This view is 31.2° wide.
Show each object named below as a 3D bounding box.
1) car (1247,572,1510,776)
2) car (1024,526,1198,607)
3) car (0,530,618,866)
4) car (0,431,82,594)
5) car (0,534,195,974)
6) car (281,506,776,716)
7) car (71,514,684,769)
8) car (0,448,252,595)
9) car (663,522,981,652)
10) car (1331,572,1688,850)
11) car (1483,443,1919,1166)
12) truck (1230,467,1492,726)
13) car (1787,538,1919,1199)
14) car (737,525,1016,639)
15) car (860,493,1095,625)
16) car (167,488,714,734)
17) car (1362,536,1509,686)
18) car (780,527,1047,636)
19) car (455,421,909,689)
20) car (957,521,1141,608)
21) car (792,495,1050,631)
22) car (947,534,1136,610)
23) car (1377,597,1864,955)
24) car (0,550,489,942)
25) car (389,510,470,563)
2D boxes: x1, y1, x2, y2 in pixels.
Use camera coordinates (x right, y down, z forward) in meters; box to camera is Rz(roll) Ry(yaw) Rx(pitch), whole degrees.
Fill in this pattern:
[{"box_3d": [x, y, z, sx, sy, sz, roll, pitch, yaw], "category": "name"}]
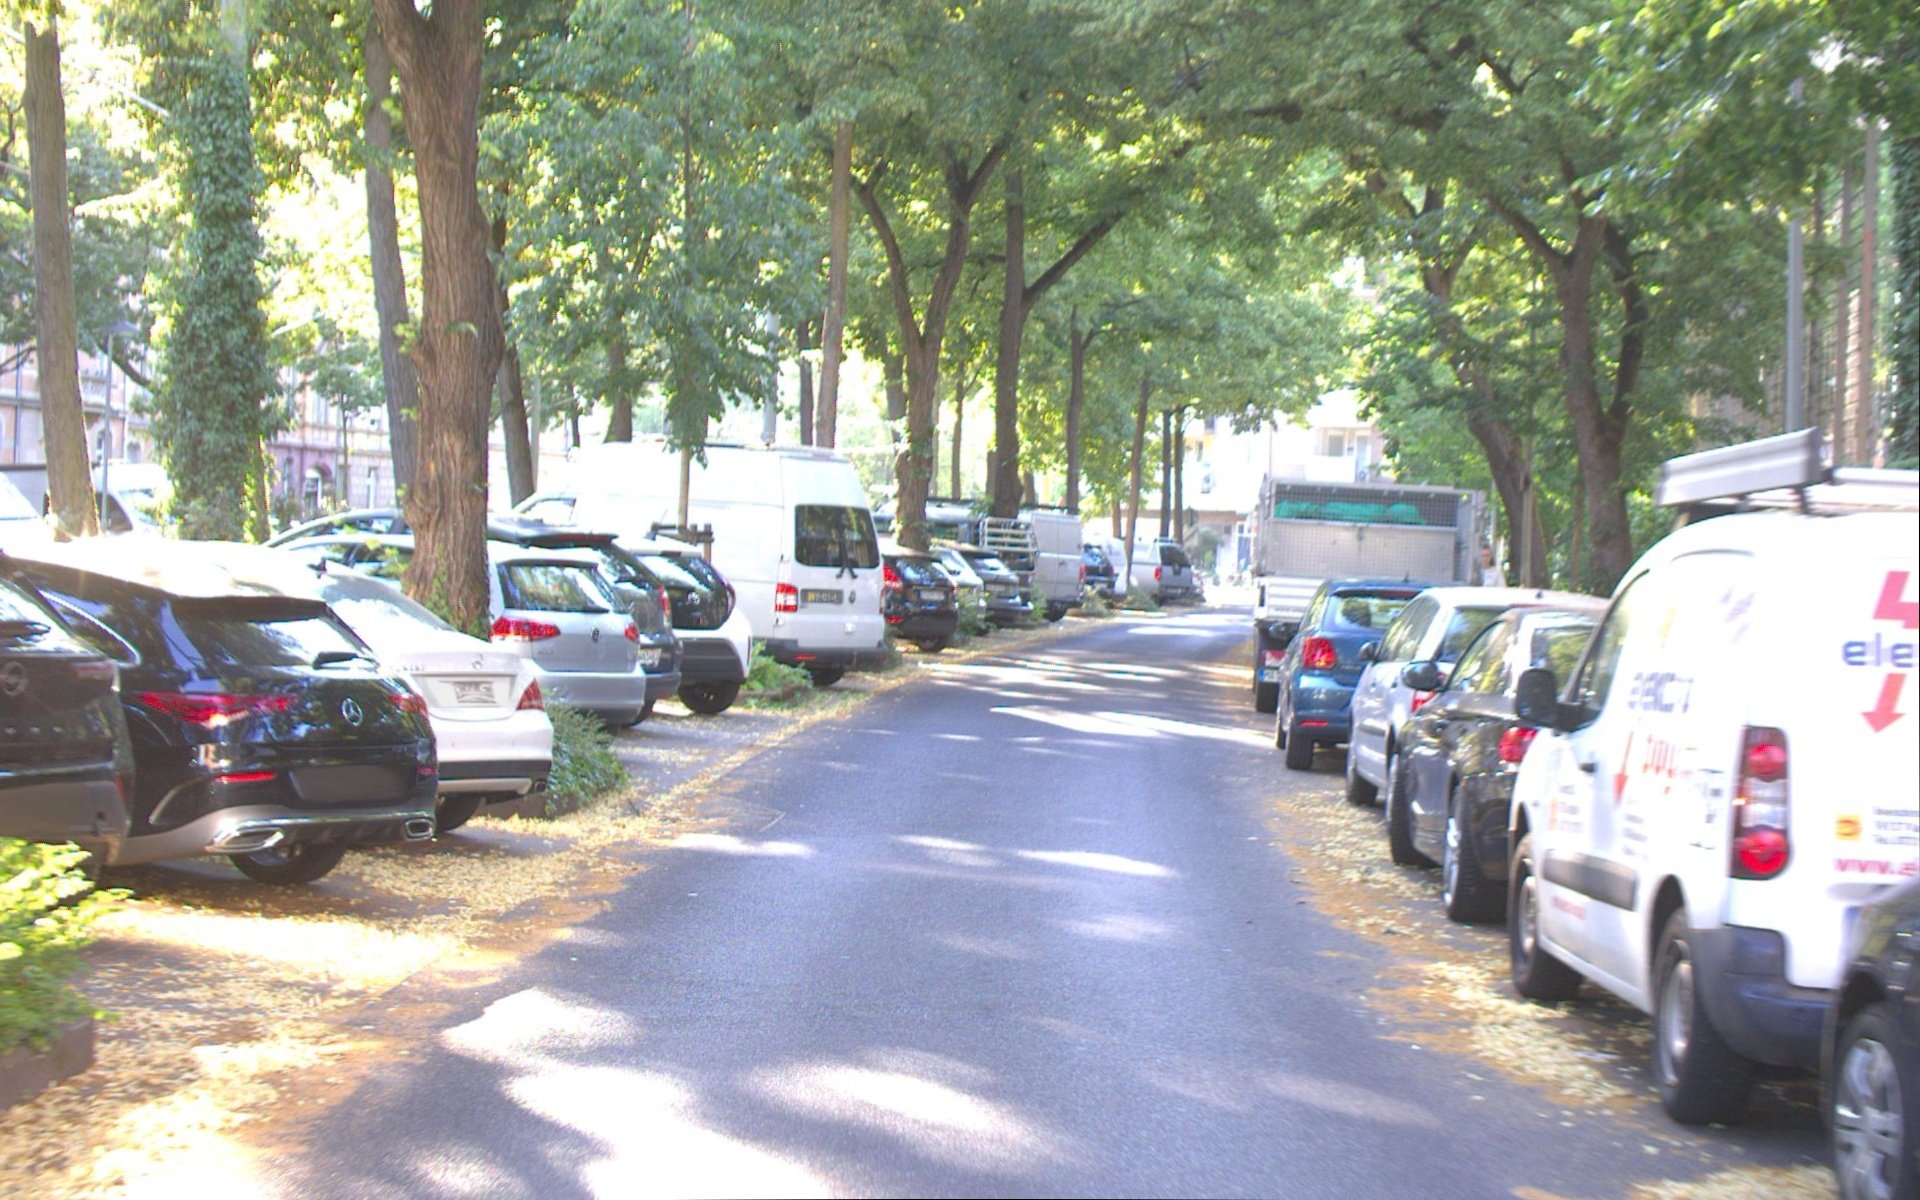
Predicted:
[{"box_3d": [3.147, 0.514, 26.435, 1.571, 1.380, 3.600, 2, 1, 0], "category": "car"}, {"box_3d": [3.943, -0.877, 89.998, 4.088, 1.783, 1.815, 5, 1, 35], "category": "car"}, {"box_3d": [-3.918, 0.437, 17.799, 3.822, 1.386, 1.735, 5, 1, 24], "category": "car"}, {"box_3d": [-17.103, -1.331, 56.214, 5.261, 2.563, 2.269, -2, 1, 33], "category": "car"}, {"box_3d": [-4.962, 0.394, 12.623, 3.822, 1.491, 1.735, 5, 1, 24], "category": "car"}, {"box_3d": [-3.742, 0.090, 29.837, 3.822, 1.476, 1.735, 5, 1, 24], "category": "car"}, {"box_3d": [-4.078, 0.273, 24.080, 3.822, 1.416, 1.735, 5, 1, 24], "category": "car"}, {"box_3d": [-16.123, -1.445, 64.805, 5.261, 2.563, 2.269, -2, 1, 33], "category": "car"}, {"box_3d": [-1.953, -0.188, 48.172, 4.088, 1.468, 1.815, 5, 1, 35], "category": "car"}, {"box_3d": [3.234, 0.600, 20.826, 1.571, 1.462, 3.600, 2, 1, 0], "category": "car"}, {"box_3d": [2.790, 0.519, 11.038, 1.571, 1.897, 3.902, 2, 1, 0], "category": "car"}, {"box_3d": [3.908, -0.073, 34.248, 2.367, 2.344, 4.383, 2, 1, 5], "category": "truck"}, {"box_3d": [2.878, 0.725, 6.455, 1.571, 1.632, 3.712, 2, 1, -2], "category": "car"}, {"box_3d": [-1.356, -0.299, 55.035, 4.088, 1.468, 1.815, 5, 1, 35], "category": "car"}, {"box_3d": [0.322, -0.805, 66.335, 4.088, 2.202, 1.815, 5, 1, 35], "category": "car"}, {"box_3d": [-4.087, 0.075, 27.063, 3.822, 1.581, 1.735, 5, 1, 24], "category": "car"}, {"box_3d": [5.533, 0.094, 40.287, 1.571, 1.643, 3.599, 2, 1, 7], "category": "car"}, {"box_3d": [-0.801, -0.320, 57.661, 4.088, 1.468, 1.815, 5, 1, 35], "category": "car"}, {"box_3d": [-2.975, -0.496, 36.329, 4.495, 2.467, 1.815, 5, 1, 35], "category": "car"}, {"box_3d": [2.185, -0.876, 84.610, 4.088, 1.783, 1.815, 5, 1, 35], "category": "car"}, {"box_3d": [-0.702, -0.652, 60.141, 4.088, 2.033, 1.815, 5, 1, 35], "category": "car"}, {"box_3d": [1.931, -0.670, 81.738, 4.088, 1.468, 1.815, 5, 1, 35], "category": "car"}, {"box_3d": [2.958, 0.729, 16.067, 1.571, 1.381, 3.600, 2, 1, 0], "category": "car"}, {"box_3d": [-4.173, 0.497, 14.804, 3.822, 1.386, 1.735, 5, 1, 24], "category": "car"}, {"box_3d": [-18.639, -2.243, 120.931, 1.711, 1.814, 3.999, 1, 1, 9], "category": "car"}]
